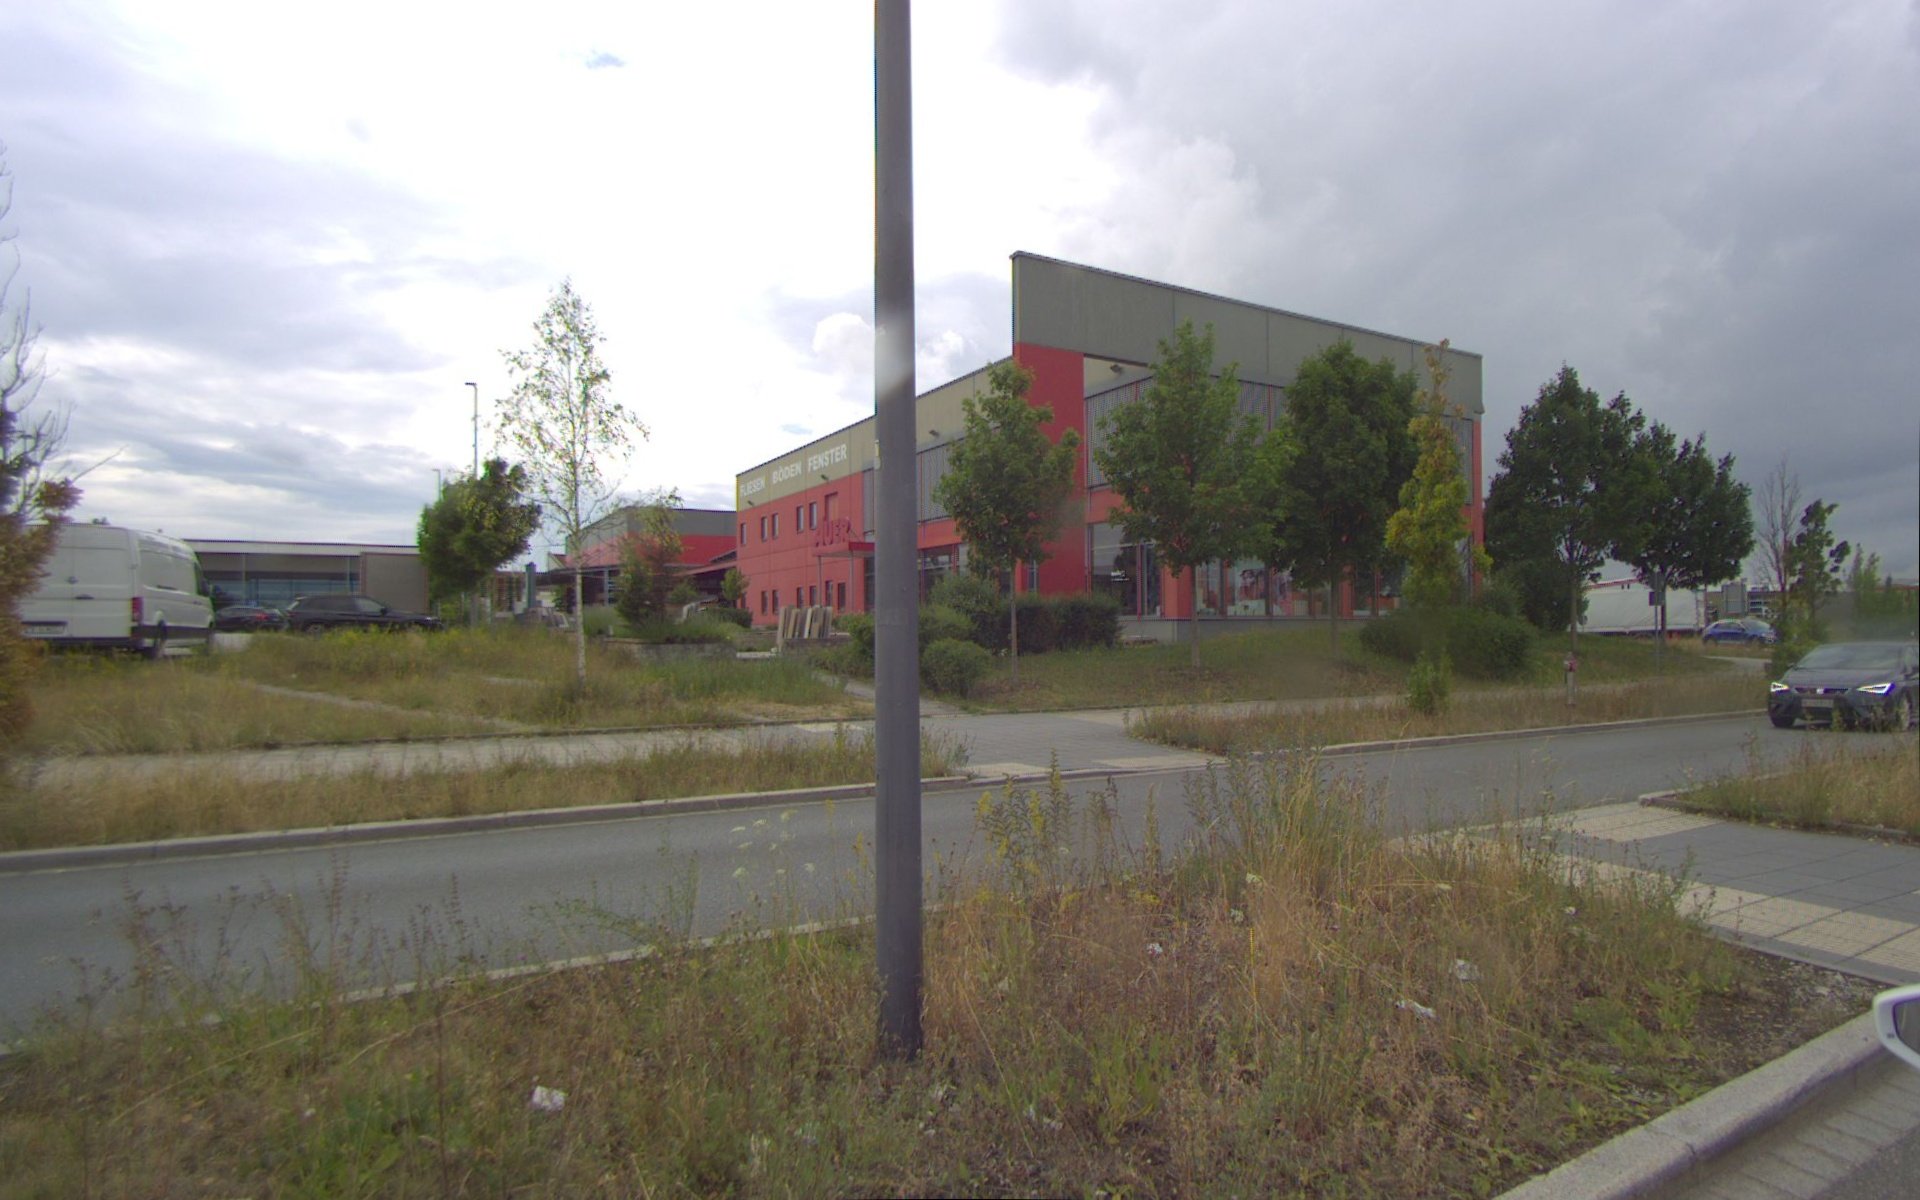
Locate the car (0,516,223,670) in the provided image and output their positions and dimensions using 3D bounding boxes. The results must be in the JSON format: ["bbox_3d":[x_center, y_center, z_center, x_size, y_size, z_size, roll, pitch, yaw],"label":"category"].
[{"bbox_3d":[-17.012,-0.068,20.458,2.215,2.633,6.383,1,-1,-27],"label":"car"}]

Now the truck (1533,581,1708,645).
[{"bbox_3d":[43.238,0.902,66.025,3.123,3.958,9.213,1,-2,-44],"label":"truck"}]

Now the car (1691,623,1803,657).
[{"bbox_3d":[38.337,1.983,49.067,1.813,1.548,4.224,0,-3,-8],"label":"car"}]

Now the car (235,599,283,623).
[{"bbox_3d":[-49.935,0.789,71.612,1.971,1.628,3.978,1,-1,-23],"label":"car"}]

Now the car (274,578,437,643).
[{"bbox_3d":[-20.470,0.398,34.204,4.585,2.060,1.984,1,-2,-31],"label":"car"}]

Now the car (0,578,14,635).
[{"bbox_3d":[-33.703,0.175,32.455,4.223,1.874,1.981,1,-2,-34],"label":"car"}]

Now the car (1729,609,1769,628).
[{"bbox_3d":[81.490,1.909,103.701,3.954,1.884,1.983,1,-1,-31],"label":"car"}]

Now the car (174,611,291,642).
[{"bbox_3d":[-39.966,1.464,55.355,4.998,1.673,1.984,1,-2,-30],"label":"car"}]

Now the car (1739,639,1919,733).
[{"bbox_3d":[15.293,1.404,17.180,3.955,1.425,1.832,1,-3,-32],"label":"car"}]
